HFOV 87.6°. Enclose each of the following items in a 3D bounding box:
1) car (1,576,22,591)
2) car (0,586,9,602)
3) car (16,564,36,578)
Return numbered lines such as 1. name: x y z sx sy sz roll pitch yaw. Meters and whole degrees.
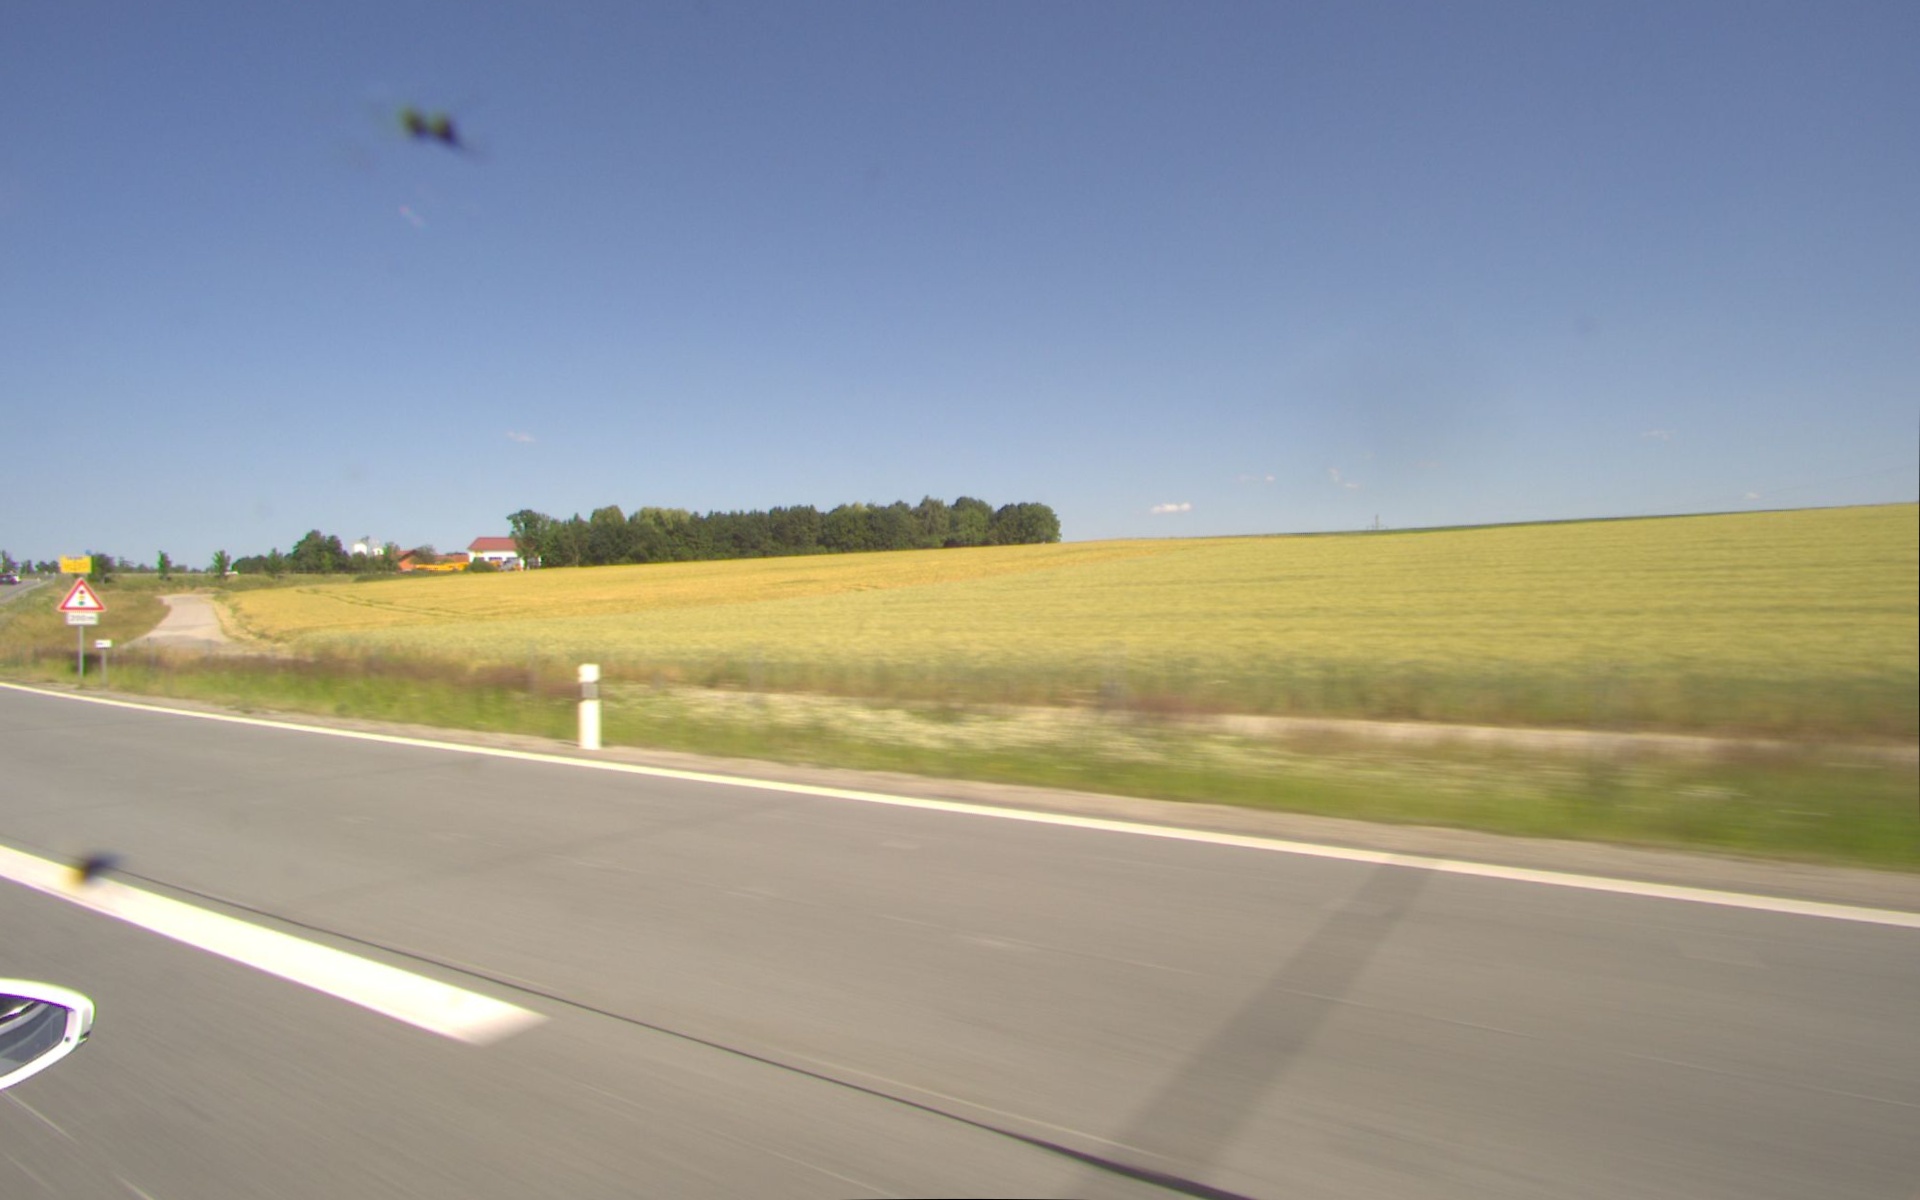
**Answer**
1. car: -133.844 -2.306 141.314 1.978 2.041 3.965 -2 1 -41
2. car: -100.766 -0.603 104.452 1.978 1.640 3.965 -2 1 -41
3. car: -138.000 -4.285 147.965 1.978 2.040 3.965 -2 1 -41
